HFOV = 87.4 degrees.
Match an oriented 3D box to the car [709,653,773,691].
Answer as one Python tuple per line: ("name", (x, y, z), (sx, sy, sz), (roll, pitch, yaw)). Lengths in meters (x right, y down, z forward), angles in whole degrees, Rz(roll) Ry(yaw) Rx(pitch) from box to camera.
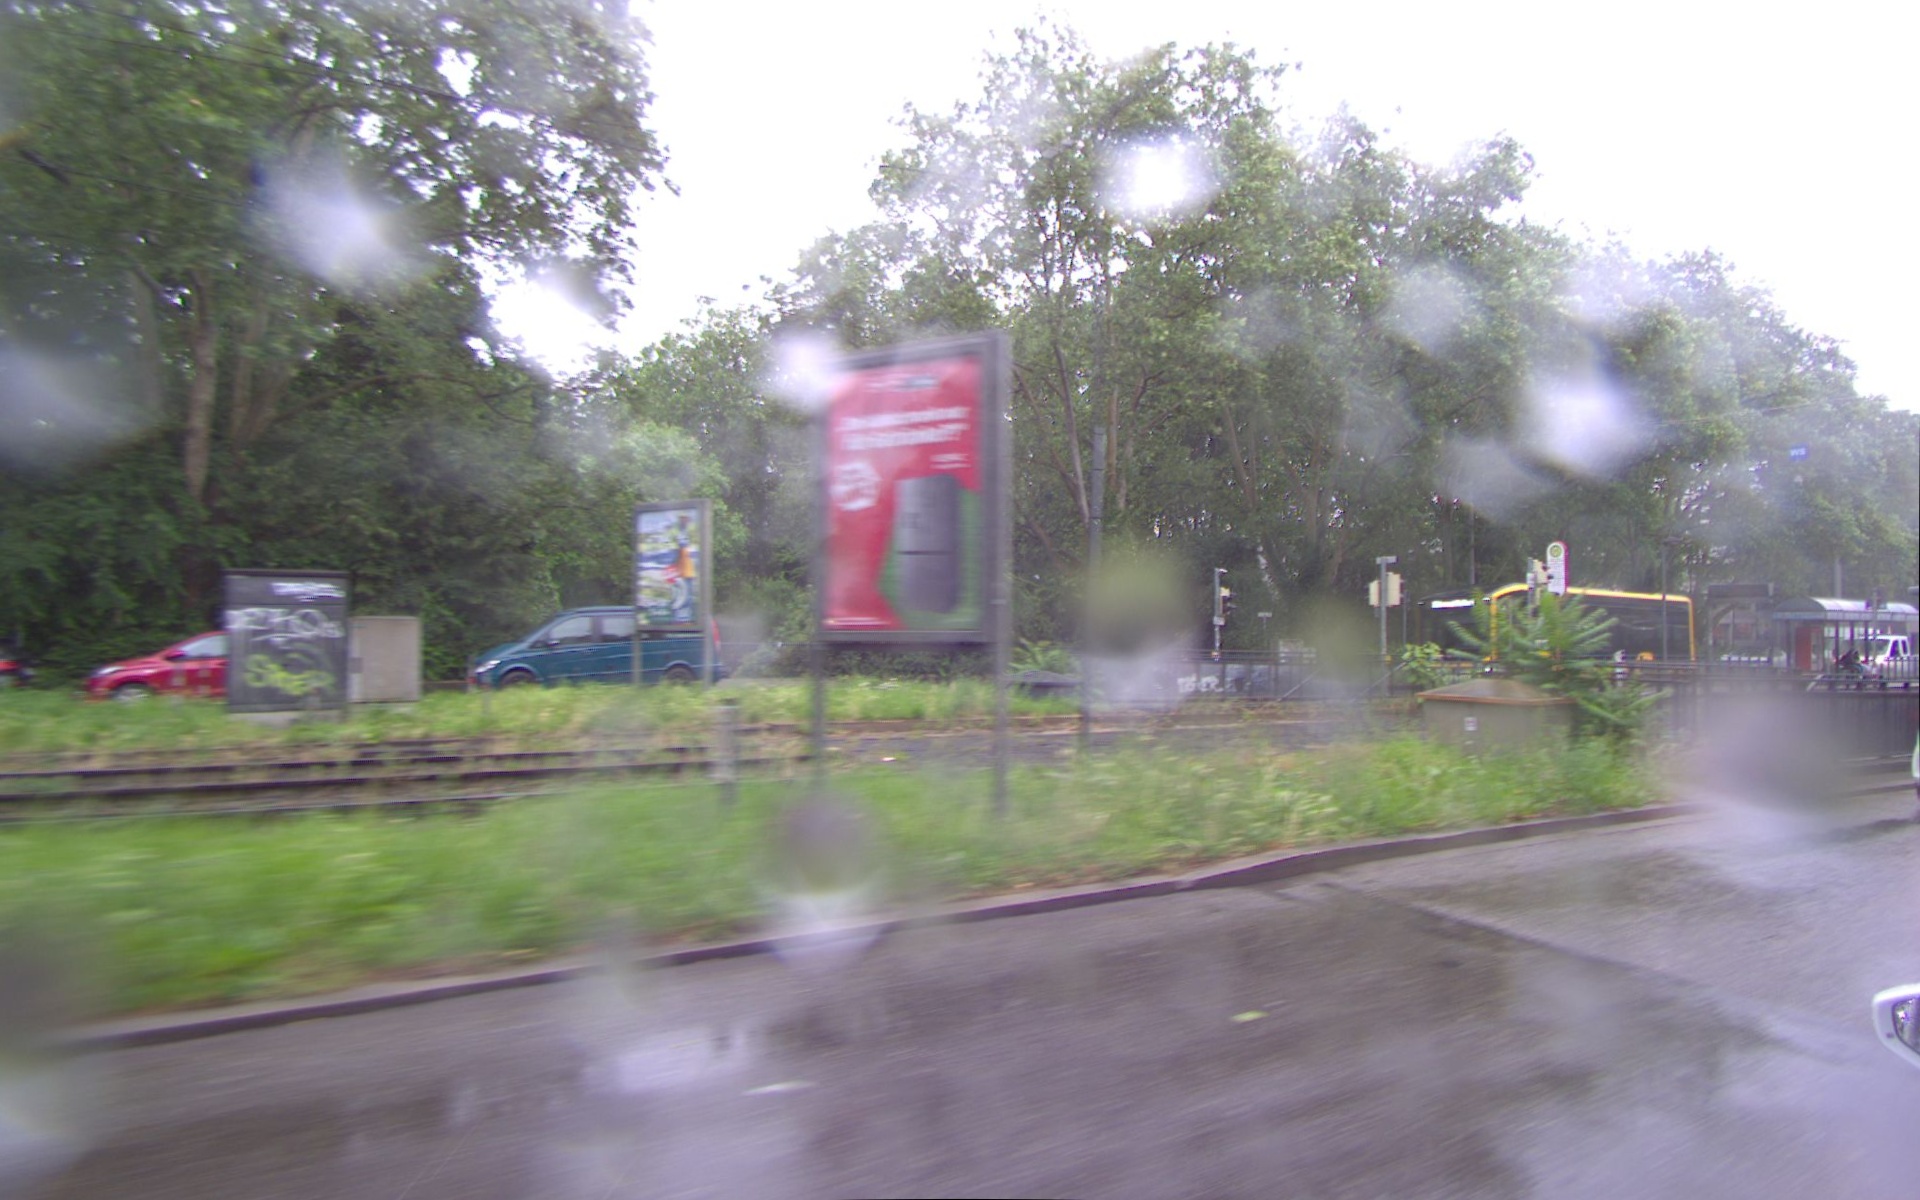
("car", (-7.187, 2.347, 32.884), (1.292, 1.044, 2.654), (3, -1, -30))

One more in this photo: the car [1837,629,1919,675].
("car", (43.419, 2.403, 46.658), (6.042, 2.040, 2.174), (2, -2, -30))

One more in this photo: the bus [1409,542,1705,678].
("bus", (19.977, 0.496, 33.139), (12.105, 3.889, 3.014), (2, -1, -31))

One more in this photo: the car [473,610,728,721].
("car", (-7.559, 1.374, 21.307), (4.754, 2.120, 2.020), (2, -4, -34))

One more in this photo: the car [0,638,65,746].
("car", (-17.145, 1.428, 15.537), (4.559, 1.679, 2.021), (2, -4, -32))

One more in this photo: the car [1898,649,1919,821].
("car", (10.368, 1.246, 9.104), (3.761, 1.498, 1.717), (3, -2, -30))

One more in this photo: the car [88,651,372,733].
("car", (-12.983, 1.605, 18.162), (3.945, 1.334, 1.726), (2, -4, -34))

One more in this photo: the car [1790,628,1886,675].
("car", (44.669, 2.588, 51.077), (5.158, 2.253, 1.986), (1, -2, -28))
